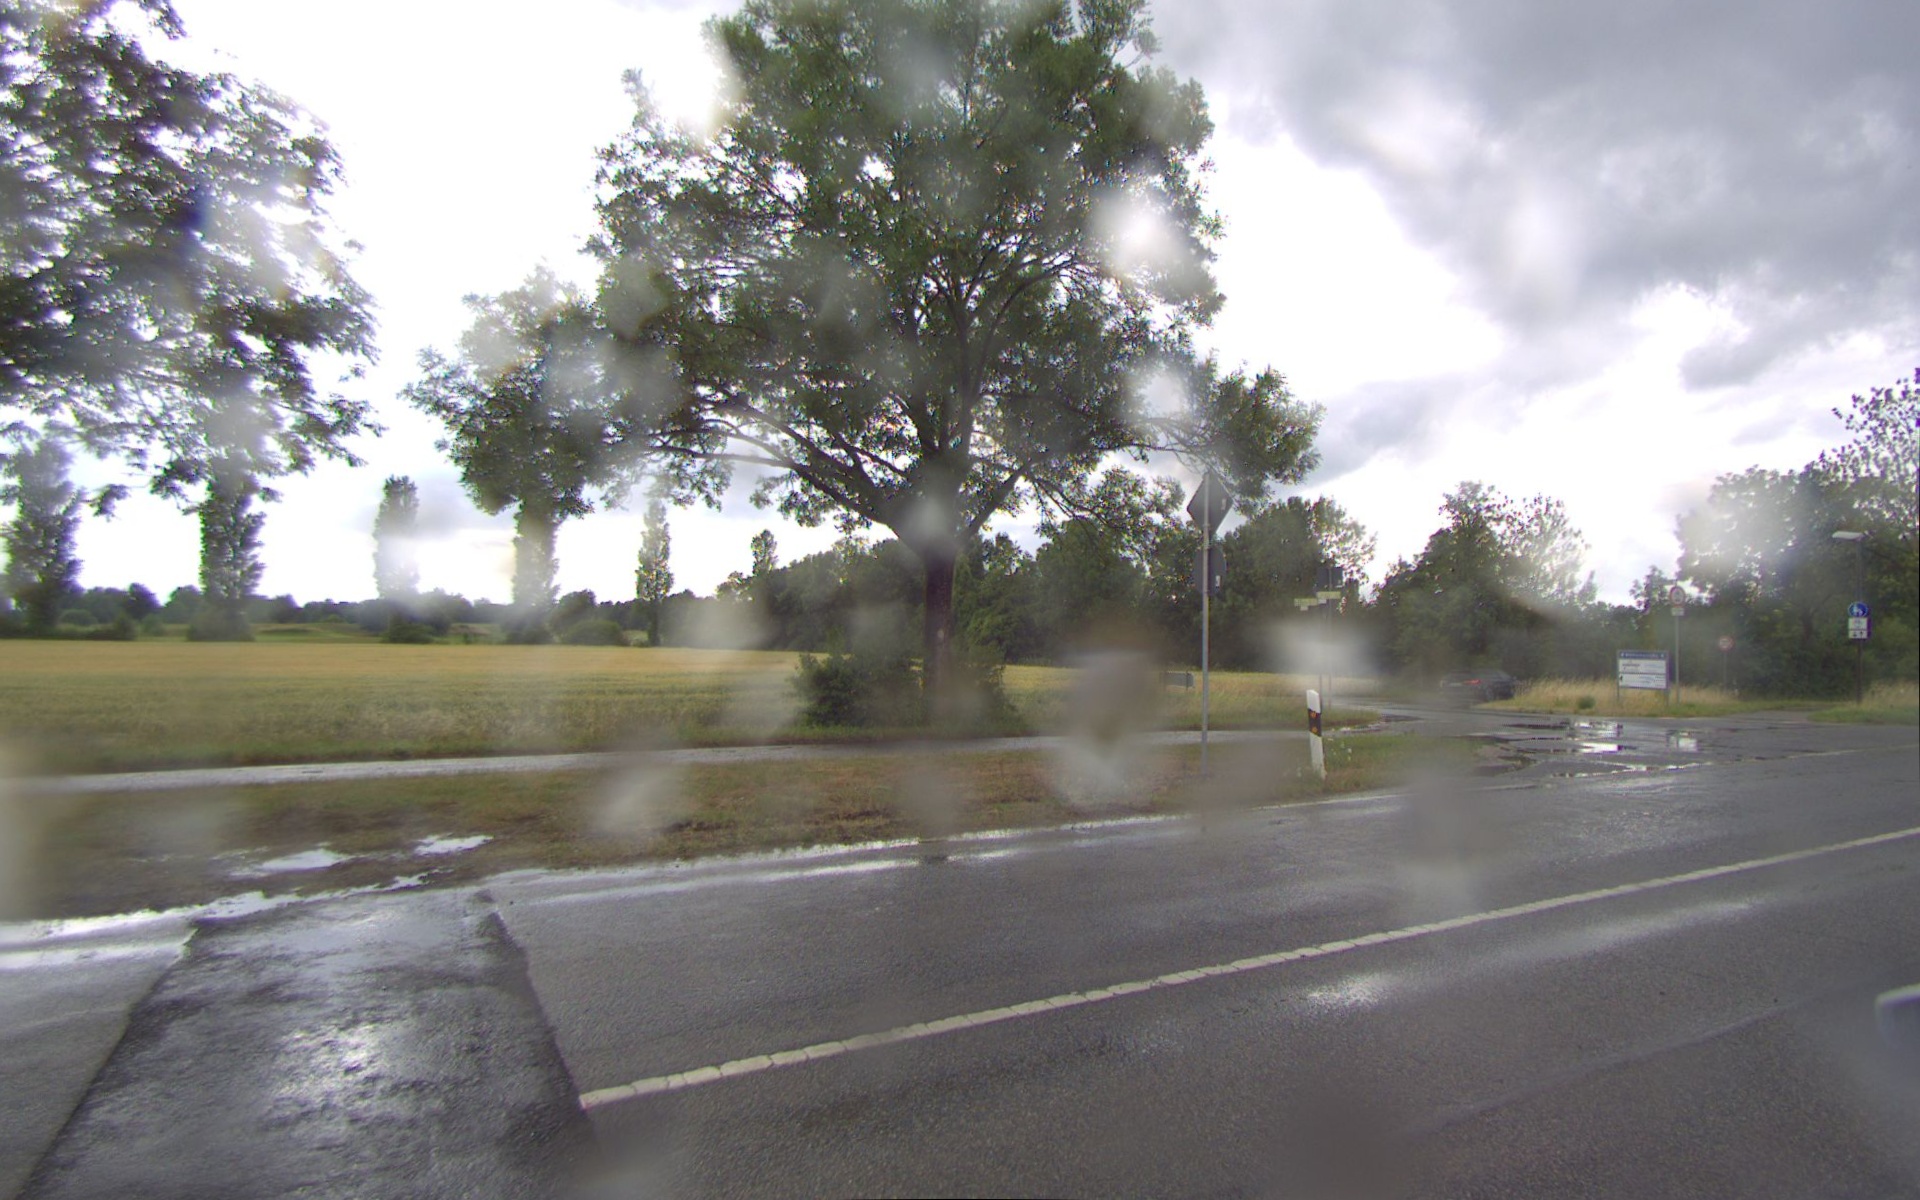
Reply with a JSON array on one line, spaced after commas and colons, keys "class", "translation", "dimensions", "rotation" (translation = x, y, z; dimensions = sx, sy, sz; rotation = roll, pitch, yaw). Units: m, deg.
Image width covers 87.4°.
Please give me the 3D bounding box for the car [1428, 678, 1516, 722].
[{"class": "car", "translation": [22.639, 4.353, 44.320], "dimensions": [2.277, 1.567, 4.607], "rotation": [2, -1, 43]}]
